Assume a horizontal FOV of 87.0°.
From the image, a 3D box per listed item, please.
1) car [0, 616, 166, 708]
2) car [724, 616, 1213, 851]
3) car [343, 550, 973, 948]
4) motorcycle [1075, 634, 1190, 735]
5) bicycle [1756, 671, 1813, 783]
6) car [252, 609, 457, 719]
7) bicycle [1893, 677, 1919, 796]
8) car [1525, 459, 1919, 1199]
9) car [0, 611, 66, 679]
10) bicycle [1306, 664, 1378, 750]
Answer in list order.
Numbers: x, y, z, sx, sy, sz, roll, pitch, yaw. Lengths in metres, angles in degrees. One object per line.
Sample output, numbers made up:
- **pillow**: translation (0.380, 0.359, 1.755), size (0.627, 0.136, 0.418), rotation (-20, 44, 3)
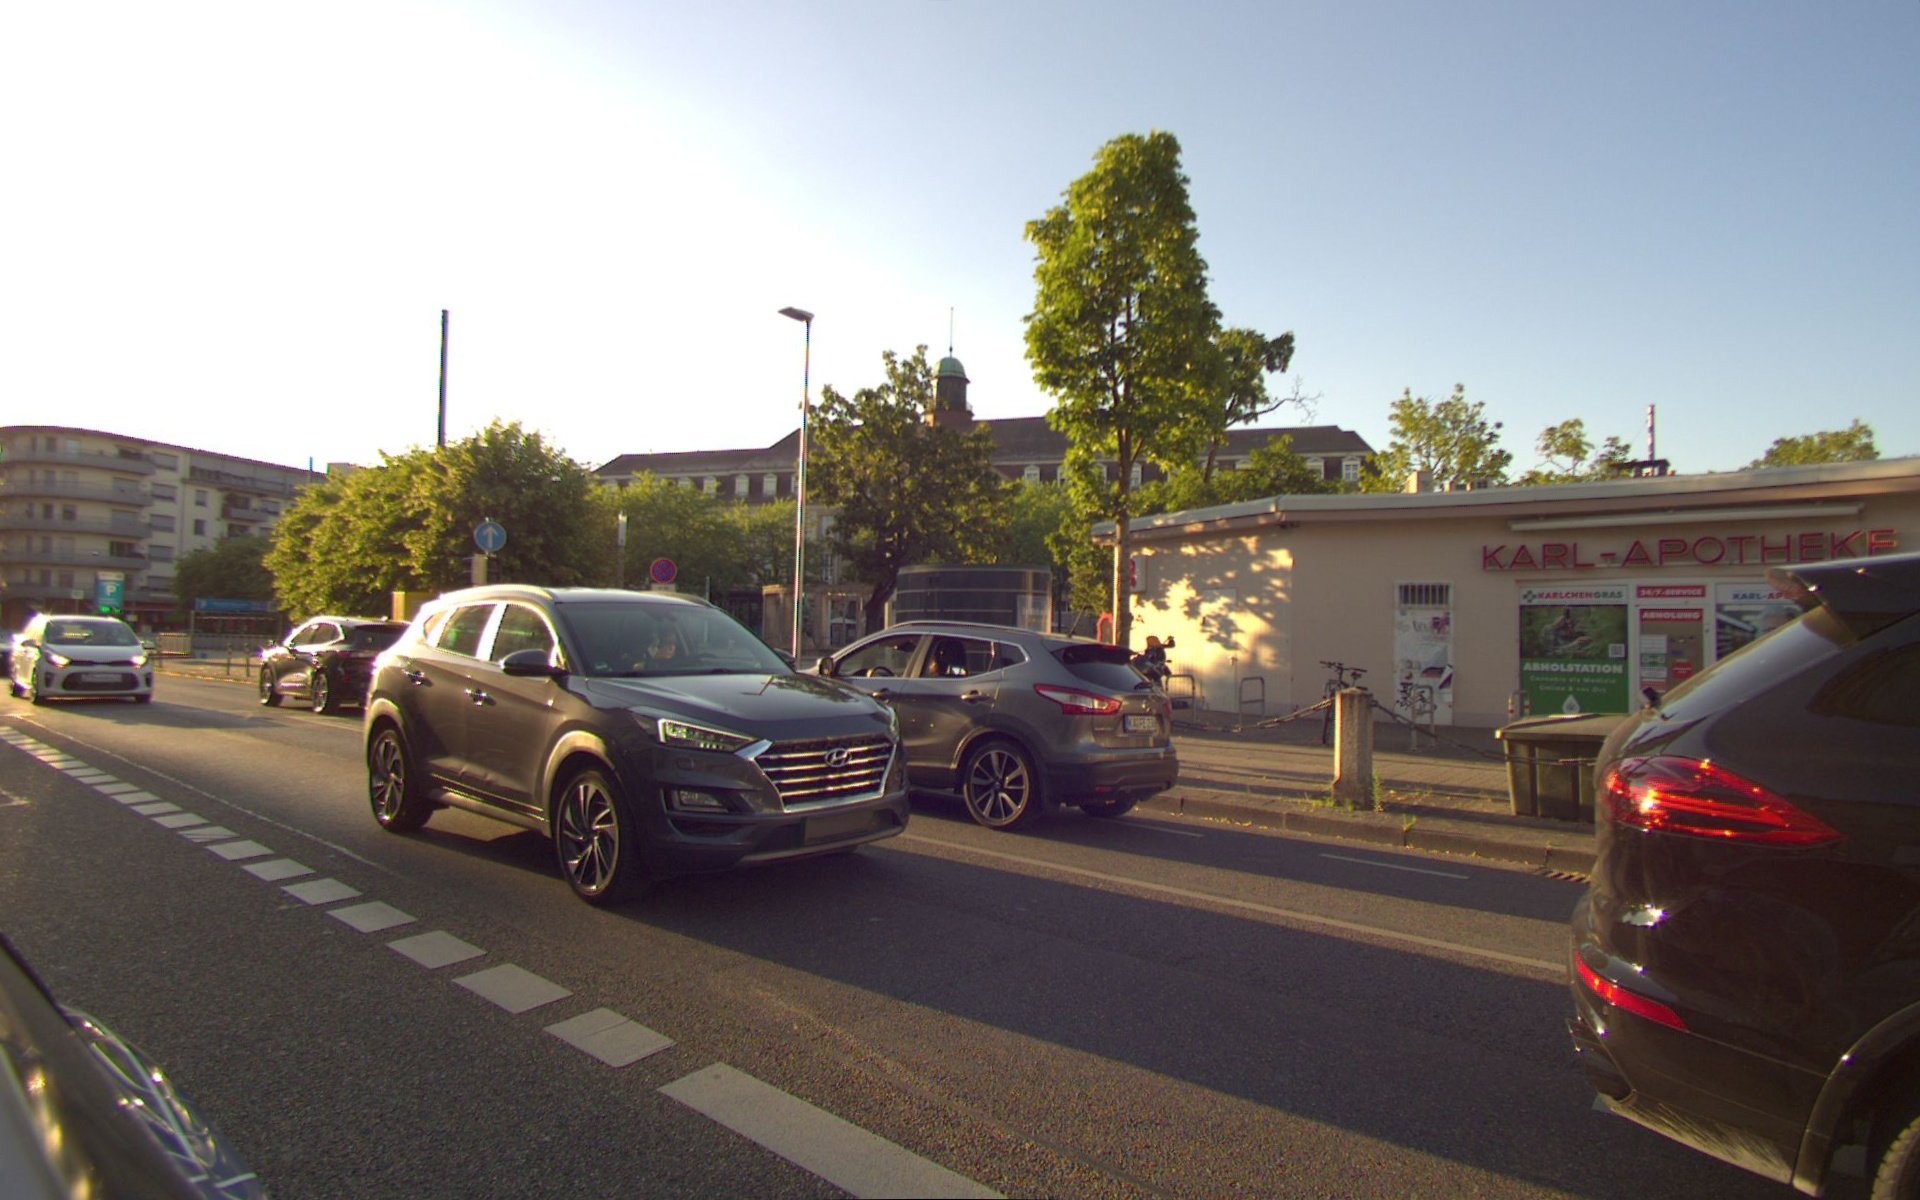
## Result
- **car**: translation (-15.855, 1.062, 18.192), size (3.982, 1.483, 1.696), rotation (-1, -4, 41)
- **car**: translation (-0.047, 1.024, 8.912), size (3.996, 1.593, 1.805), rotation (-1, -6, 39)
- **car**: translation (-2.131, 0.712, 6.456), size (4.257, 1.711, 1.804), rotation (-1, -3, 41)
- **motorcycle**: translation (2.747, 1.285, 15.866), size (0.700, 1.457, 2.369), rotation (-1, -3, 39)
- **bicycle**: translation (9.147, 1.361, 11.208), size (0.448, 1.122, 1.846), rotation (0, -3, 40)
- **car**: translation (-10.696, 1.103, 17.780), size (3.982, 1.711, 1.804), rotation (-1, -6, 41)
- **bicycle**: translation (9.894, 1.367, 10.332), size (0.448, 1.122, 1.846), rotation (0, -3, 40)
- **car**: translation (3.533, 0.607, 1.385), size (4.566, 1.711, 1.782), rotation (-1, -3, 41)
- **car**: translation (-26.413, 1.224, 28.079), size (3.982, 1.754, 1.804), rotation (-1, -5, 41)
- **bicycle**: translation (5.348, 1.449, 14.107), size (0.395, 1.111, 1.788), rotation (-1, -3, 39)
